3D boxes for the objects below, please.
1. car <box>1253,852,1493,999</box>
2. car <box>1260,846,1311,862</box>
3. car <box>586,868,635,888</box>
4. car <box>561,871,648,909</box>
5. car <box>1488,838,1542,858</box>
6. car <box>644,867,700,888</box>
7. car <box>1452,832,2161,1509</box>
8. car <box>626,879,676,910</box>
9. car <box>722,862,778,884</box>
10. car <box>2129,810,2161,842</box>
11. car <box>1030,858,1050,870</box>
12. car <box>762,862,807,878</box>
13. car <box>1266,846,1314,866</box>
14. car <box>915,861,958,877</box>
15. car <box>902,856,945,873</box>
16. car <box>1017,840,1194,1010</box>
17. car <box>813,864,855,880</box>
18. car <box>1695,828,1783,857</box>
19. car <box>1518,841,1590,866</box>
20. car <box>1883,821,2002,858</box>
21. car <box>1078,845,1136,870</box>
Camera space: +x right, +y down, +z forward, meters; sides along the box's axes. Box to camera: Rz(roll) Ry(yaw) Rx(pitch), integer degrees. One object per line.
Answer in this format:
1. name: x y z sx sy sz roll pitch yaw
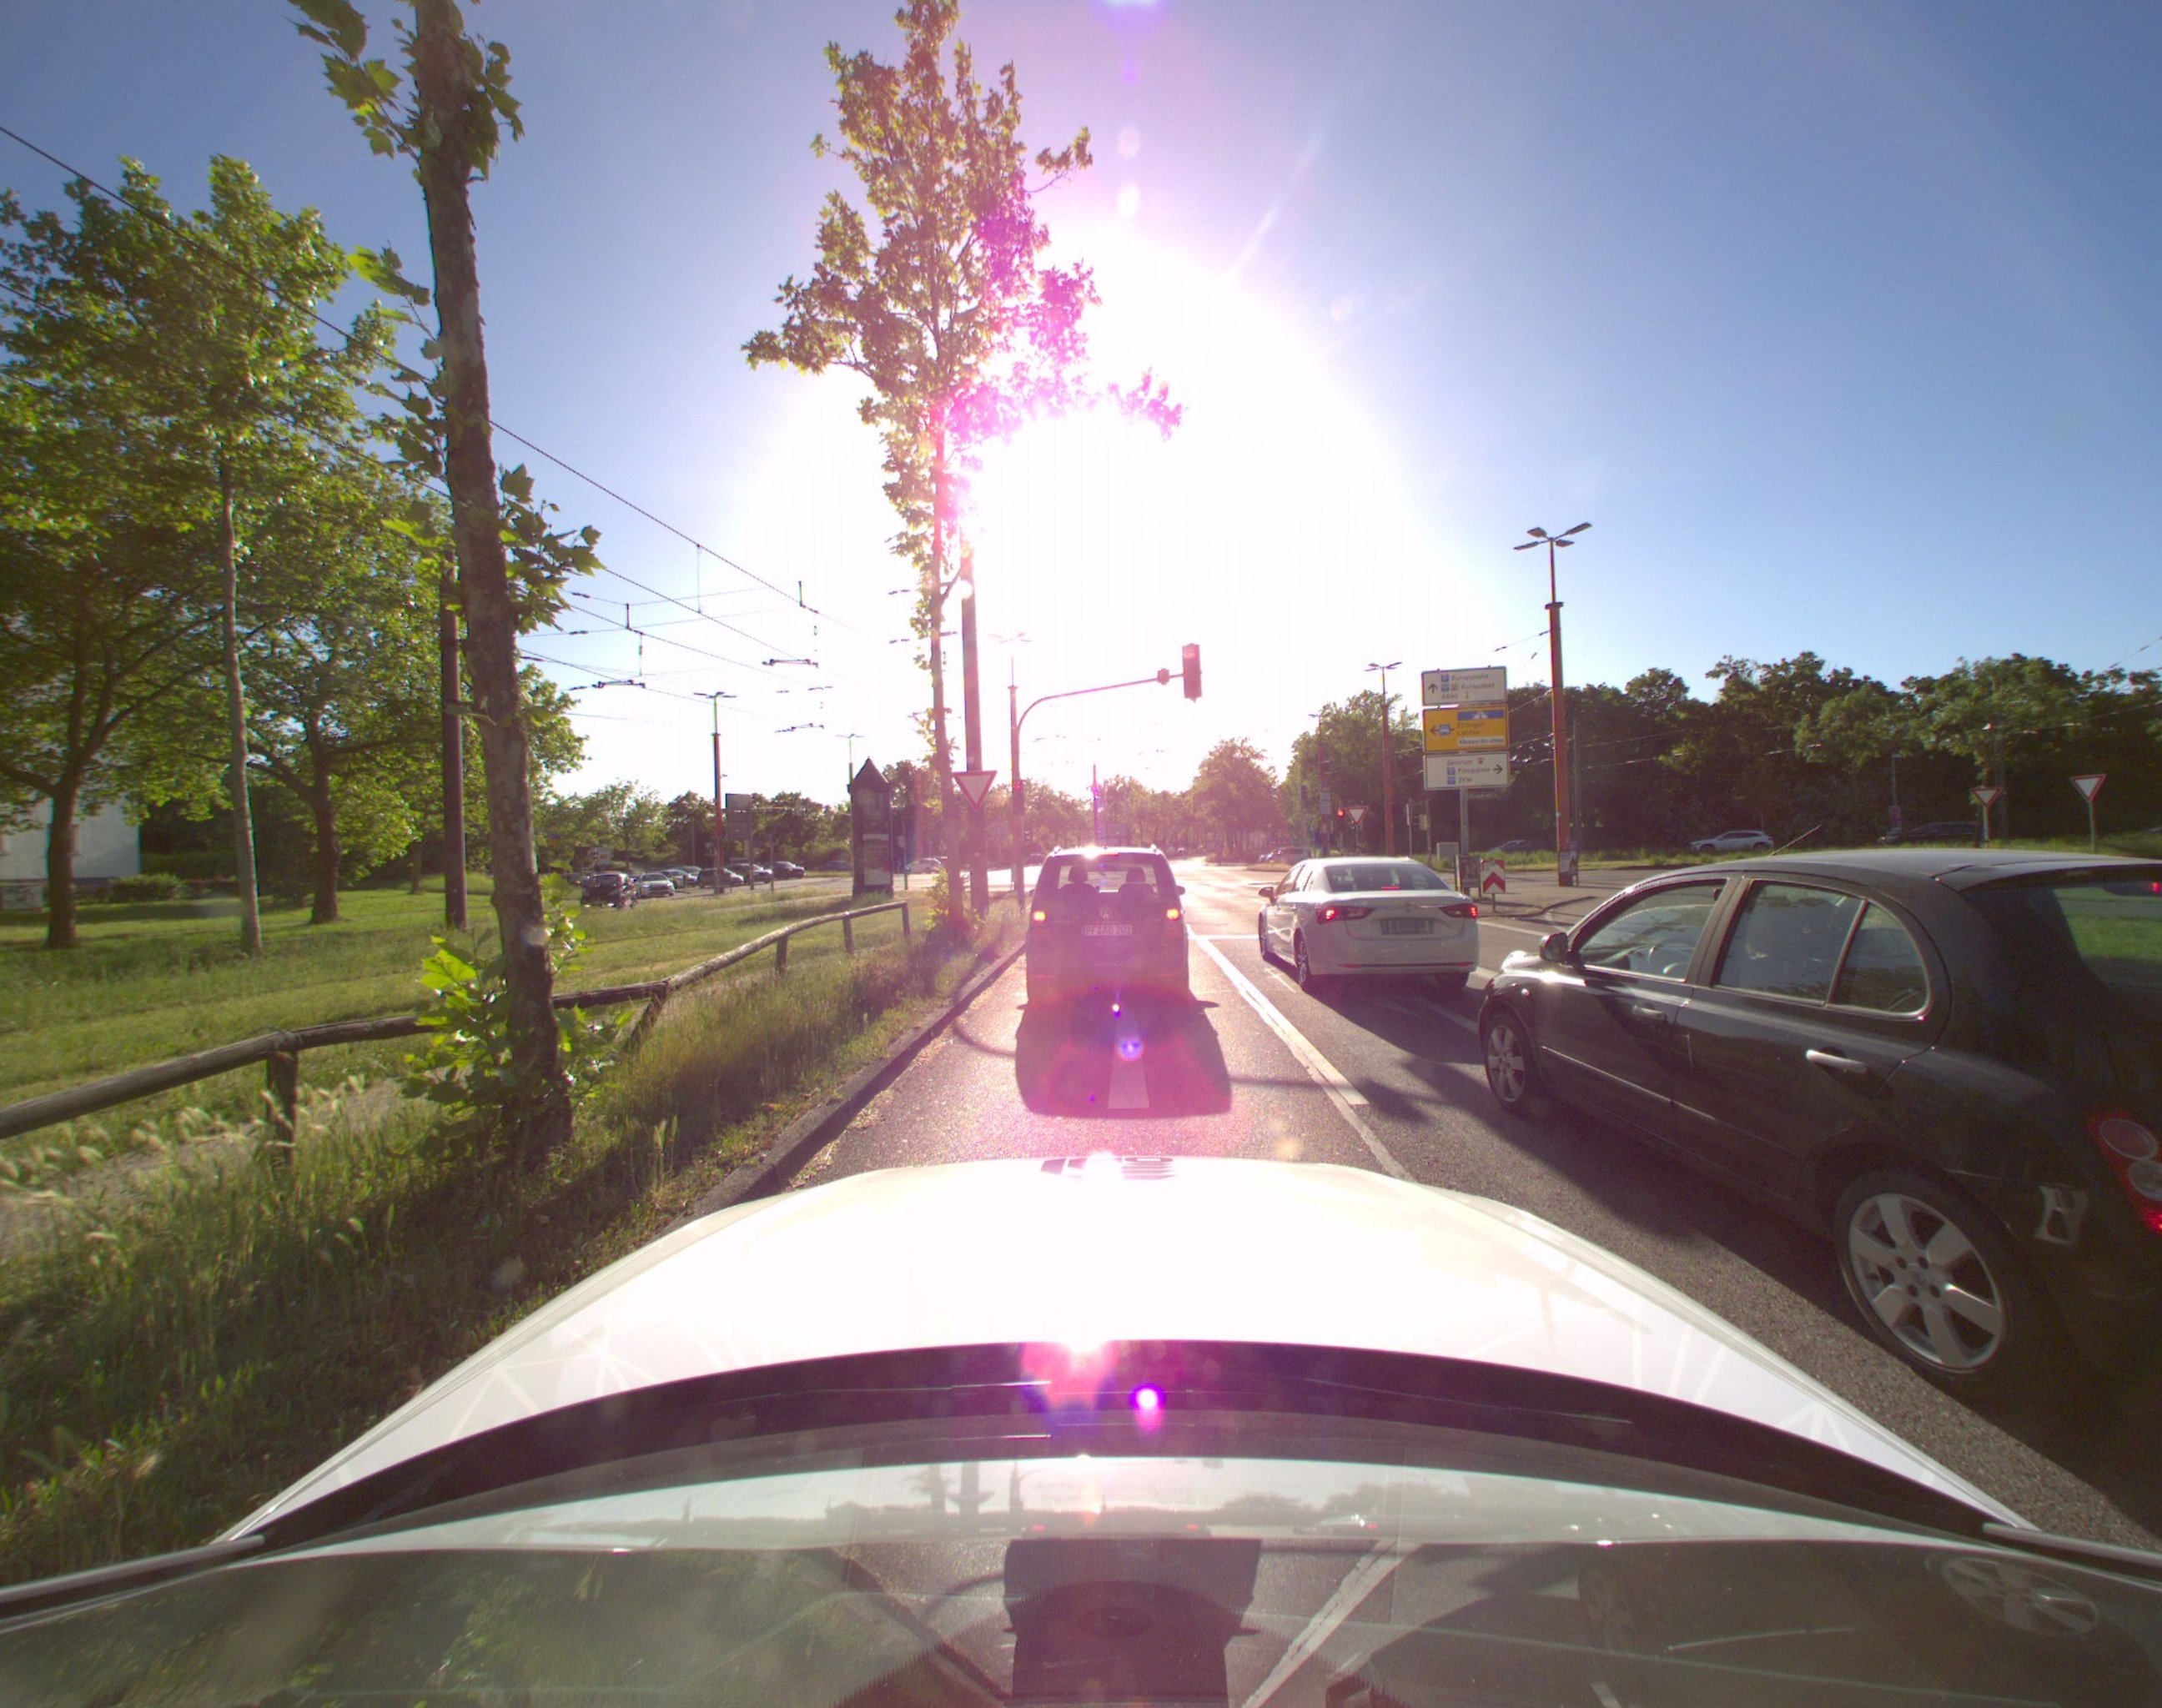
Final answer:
1. car: 3.324 0.711 10.156 1.713 1.438 4.202 -1 0 3
2. car: 16.847 0.006 67.086 3.793 1.264 1.612 0 -1 25
3. car: -39.481 2.019 68.329 3.949 1.513 1.743 -2 0 27
4. car: -19.492 1.427 33.446 1.791 1.390 2.850 -2 0 2
5. car: 31.257 -0.404 58.707 3.404 1.368 1.298 0 -1 28
6. car: -32.440 1.869 64.608 4.135 1.612 1.880 -2 0 27
7. car: 3.227 0.694 3.598 1.647 1.500 3.617 -1 0 2
8. car: -26.993 2.490 51.029 2.009 1.731 4.790 -1 0 -38
9. car: -26.582 1.539 65.362 3.950 1.644 2.012 -2 0 26
10. car: 59.142 -1.541 43.002 4.249 1.705 1.858 -2 0 31
11. car: -5.688 1.360 112.984 1.904 1.635 4.010 0 0 9
12. car: -26.529 1.476 72.855 3.948 1.330 1.709 -2 0 33
13. car: 16.114 0.142 62.821 3.363 1.457 1.473 -2 0 25
14. car: -15.077 1.574 85.070 4.081 1.644 1.864 -2 0 28
15. car: -15.406 1.012 79.726 3.783 1.523 1.705 -2 0 27
16. car: 0.296 0.700 9.934 1.694 1.621 3.898 -2 0 1
17. car: -26.192 1.917 86.307 4.080 1.598 1.840 -2 0 29
18. car: 42.310 -0.725 52.518 4.188 1.681 1.713 -2 0 32
19. car: 31.811 -0.026 54.865 3.987 1.596 2.012 -2 0 25
20. car: 47.748 -0.782 45.255 4.154 1.883 1.777 -2 0 25
21. car: 2.255 0.334 70.908 4.528 2.013 2.012 -2 0 26
